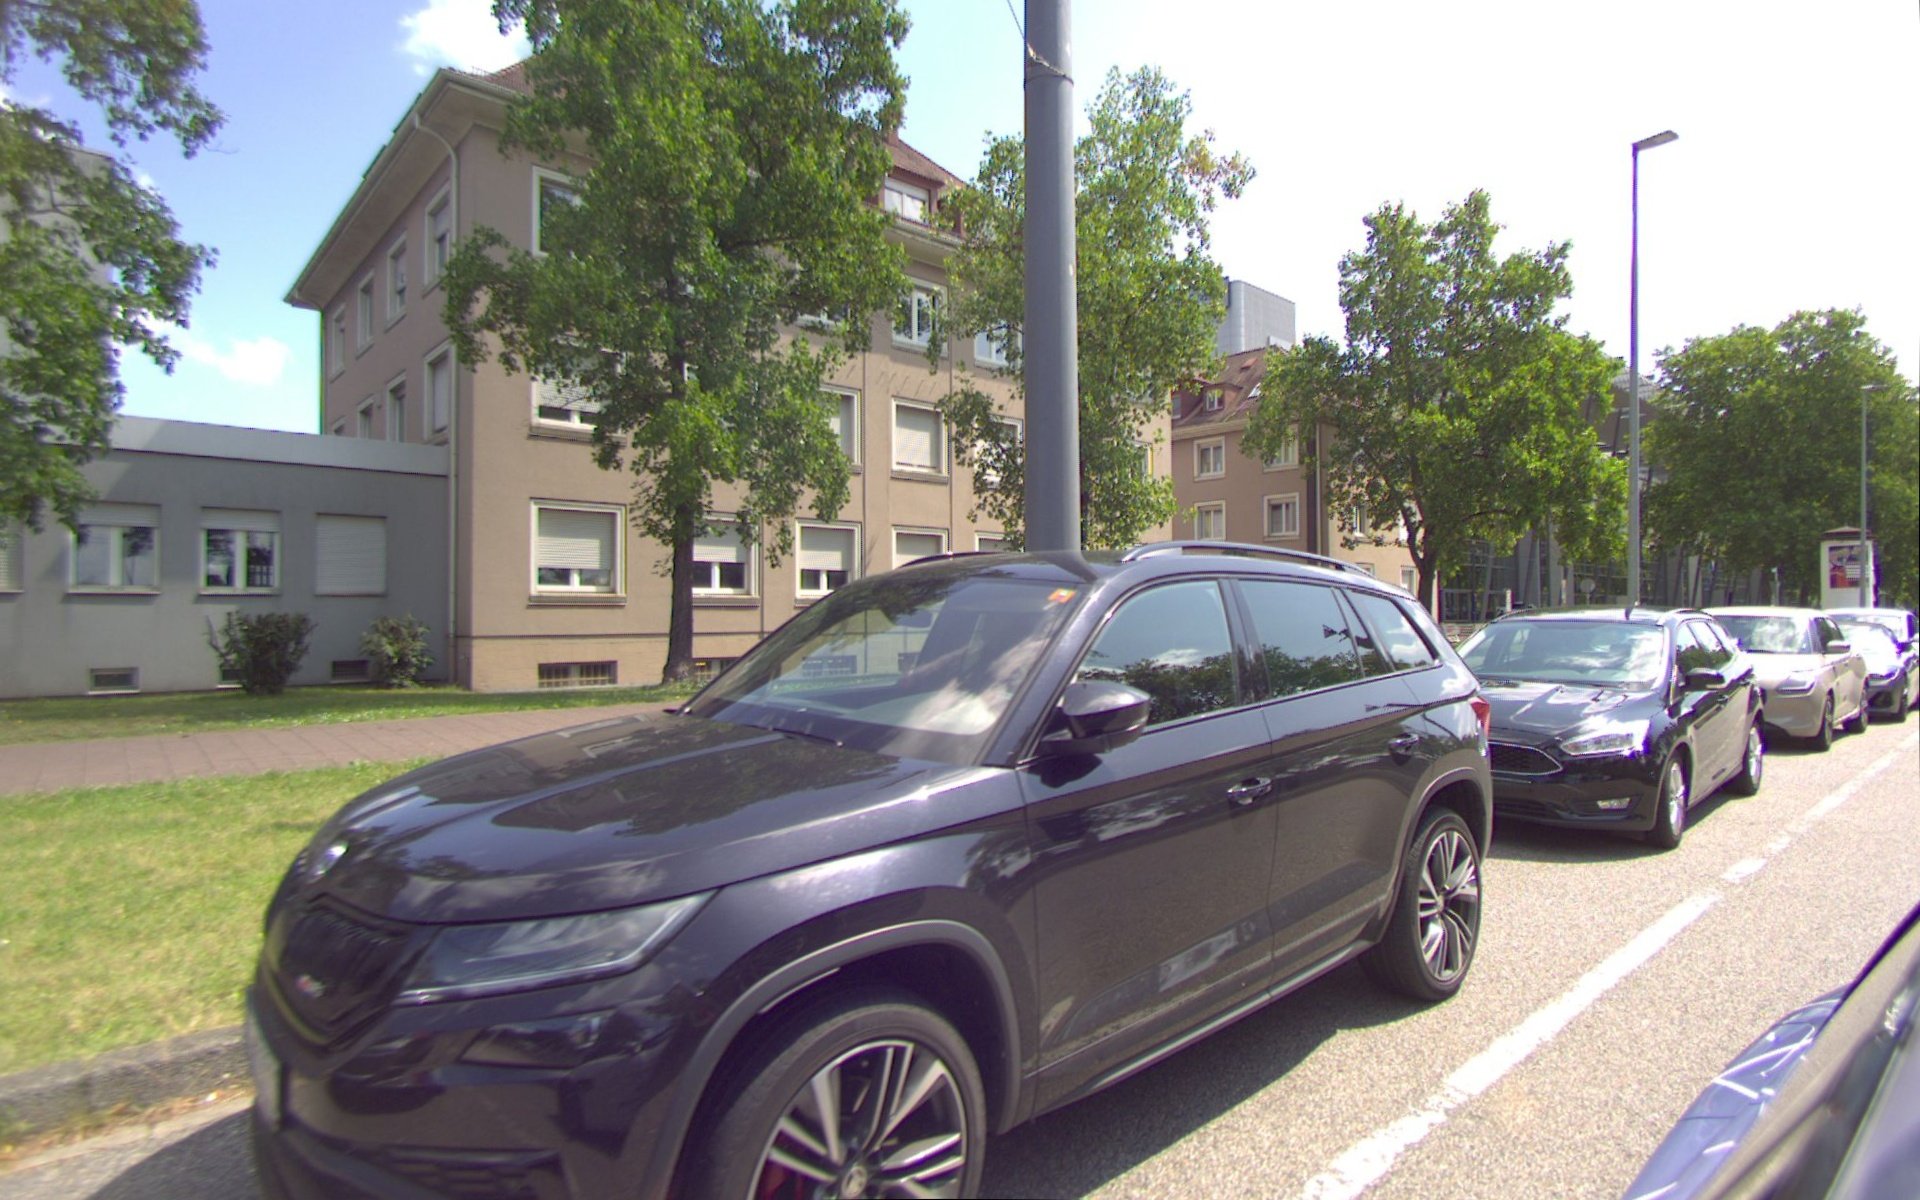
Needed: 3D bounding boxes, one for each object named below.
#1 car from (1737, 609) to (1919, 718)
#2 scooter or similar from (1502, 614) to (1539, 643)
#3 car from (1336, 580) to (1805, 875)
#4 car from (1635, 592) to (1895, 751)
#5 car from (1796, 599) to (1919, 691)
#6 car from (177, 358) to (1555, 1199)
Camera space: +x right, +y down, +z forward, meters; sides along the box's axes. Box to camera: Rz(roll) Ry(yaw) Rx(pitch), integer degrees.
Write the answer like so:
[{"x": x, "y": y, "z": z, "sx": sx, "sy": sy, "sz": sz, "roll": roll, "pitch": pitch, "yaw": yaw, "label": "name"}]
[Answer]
[{"x": 13.049, "y": 0.816, "z": 14.883, "sx": 4.366, "sy": 1.328, "sz": 1.826, "roll": 0, "pitch": 0, "yaw": -42, "label": "car"}, {"x": 26.010, "y": 1.299, "z": 46.975, "sx": 0.536, "sy": 1.320, "sz": 1.446, "roll": 0, "pitch": -1, "yaw": -26, "label": "scooter or similar"}, {"x": 4.639, "y": 0.668, "z": 7.382, "sx": 4.364, "sy": 1.549, "sz": 1.647, "roll": 0, "pitch": 0, "yaw": -41, "label": "car"}, {"x": 9.452, "y": 0.704, "z": 11.784, "sx": 3.782, "sy": 1.534, "sz": 1.672, "roll": 0, "pitch": 1, "yaw": -40, "label": "car"}, {"x": 16.915, "y": 0.757, "z": 18.669, "sx": 3.723, "sy": 1.498, "sz": 1.710, "roll": 0, "pitch": 0, "yaw": -41, "label": "car"}, {"x": 0.268, "y": 0.549, "z": 3.516, "sx": 4.590, "sy": 1.683, "sz": 1.819, "roll": 1, "pitch": 0, "yaw": -42, "label": "car"}]
